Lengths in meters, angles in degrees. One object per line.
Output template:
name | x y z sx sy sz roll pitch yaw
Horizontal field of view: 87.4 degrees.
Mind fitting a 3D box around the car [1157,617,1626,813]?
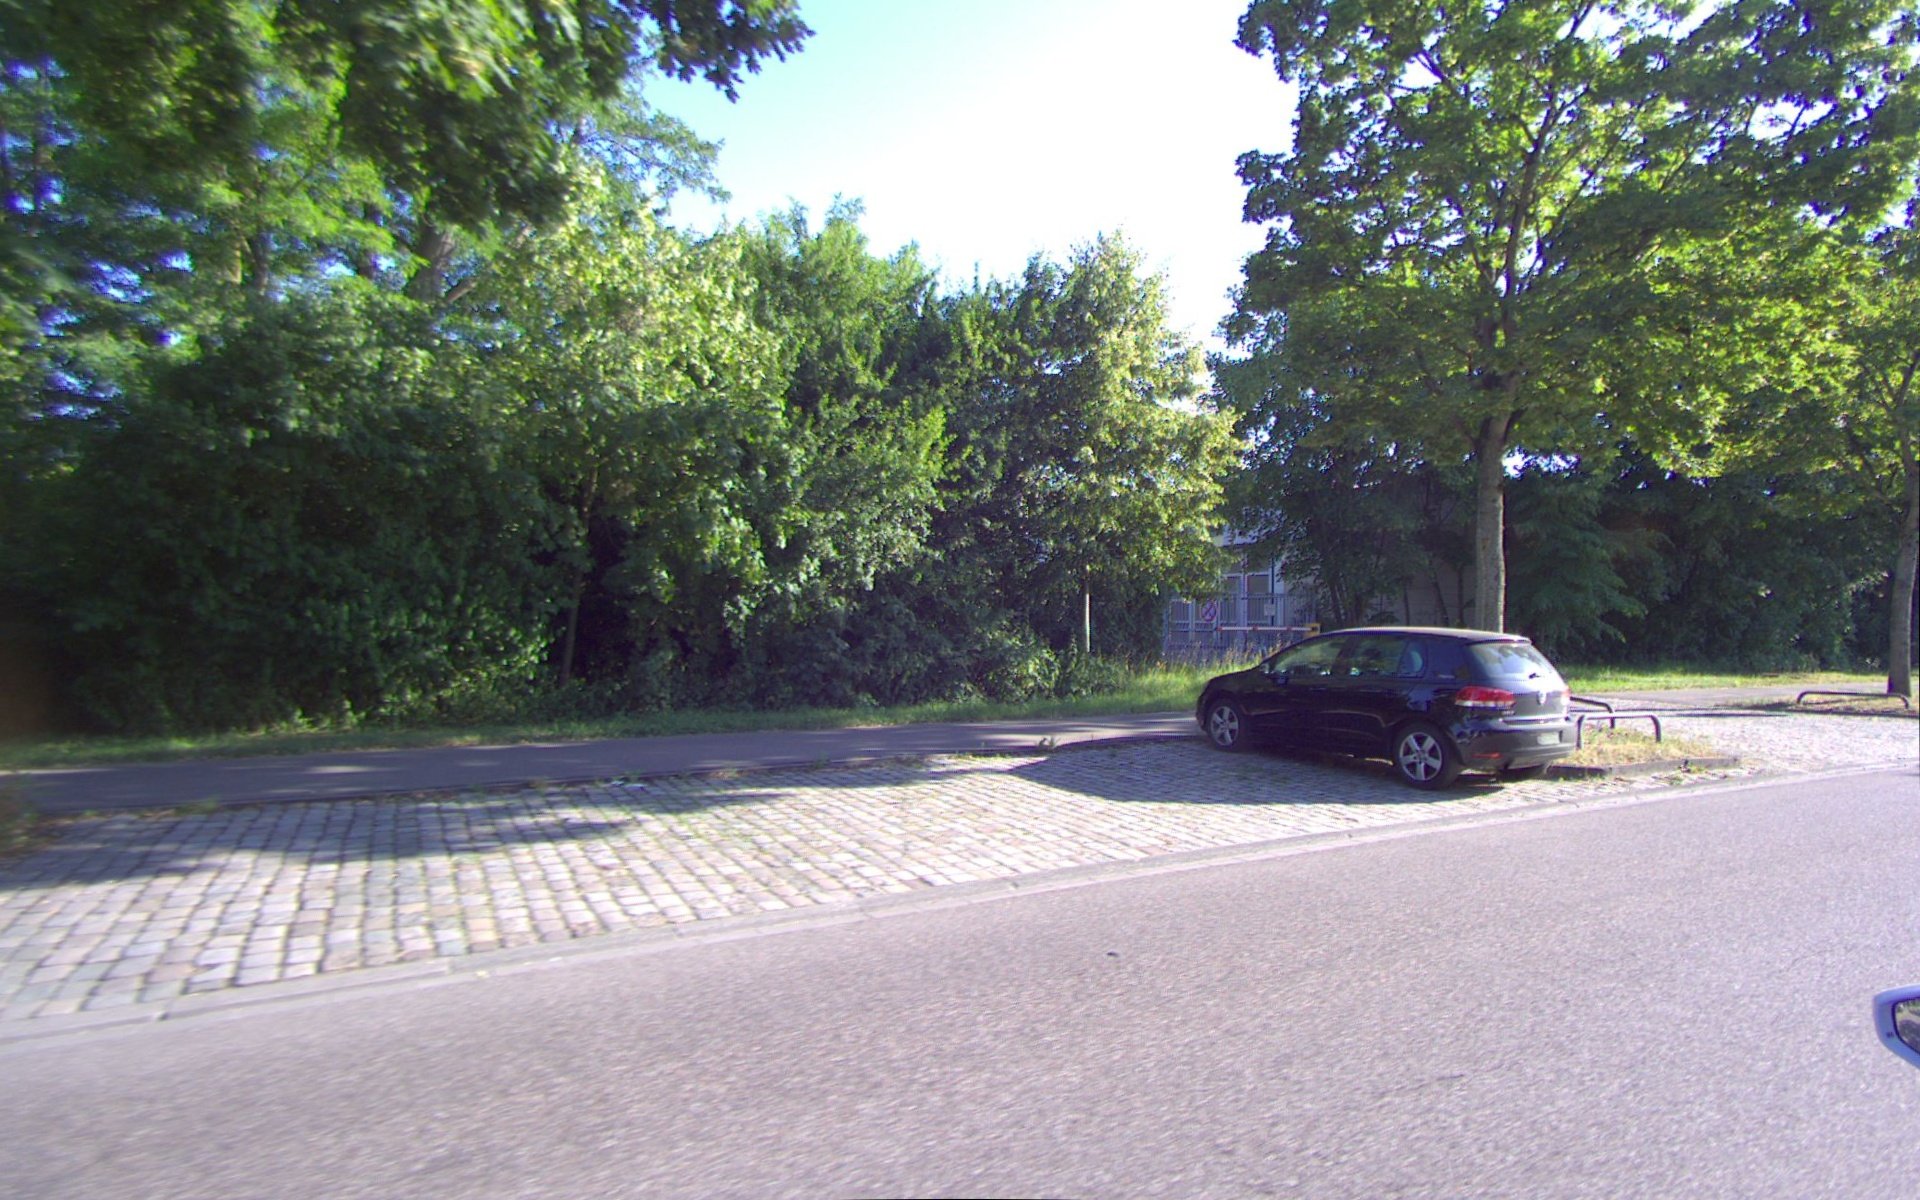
car | 4.349 1.021 10.866 1.977 1.499 4.337 1 1 -30
